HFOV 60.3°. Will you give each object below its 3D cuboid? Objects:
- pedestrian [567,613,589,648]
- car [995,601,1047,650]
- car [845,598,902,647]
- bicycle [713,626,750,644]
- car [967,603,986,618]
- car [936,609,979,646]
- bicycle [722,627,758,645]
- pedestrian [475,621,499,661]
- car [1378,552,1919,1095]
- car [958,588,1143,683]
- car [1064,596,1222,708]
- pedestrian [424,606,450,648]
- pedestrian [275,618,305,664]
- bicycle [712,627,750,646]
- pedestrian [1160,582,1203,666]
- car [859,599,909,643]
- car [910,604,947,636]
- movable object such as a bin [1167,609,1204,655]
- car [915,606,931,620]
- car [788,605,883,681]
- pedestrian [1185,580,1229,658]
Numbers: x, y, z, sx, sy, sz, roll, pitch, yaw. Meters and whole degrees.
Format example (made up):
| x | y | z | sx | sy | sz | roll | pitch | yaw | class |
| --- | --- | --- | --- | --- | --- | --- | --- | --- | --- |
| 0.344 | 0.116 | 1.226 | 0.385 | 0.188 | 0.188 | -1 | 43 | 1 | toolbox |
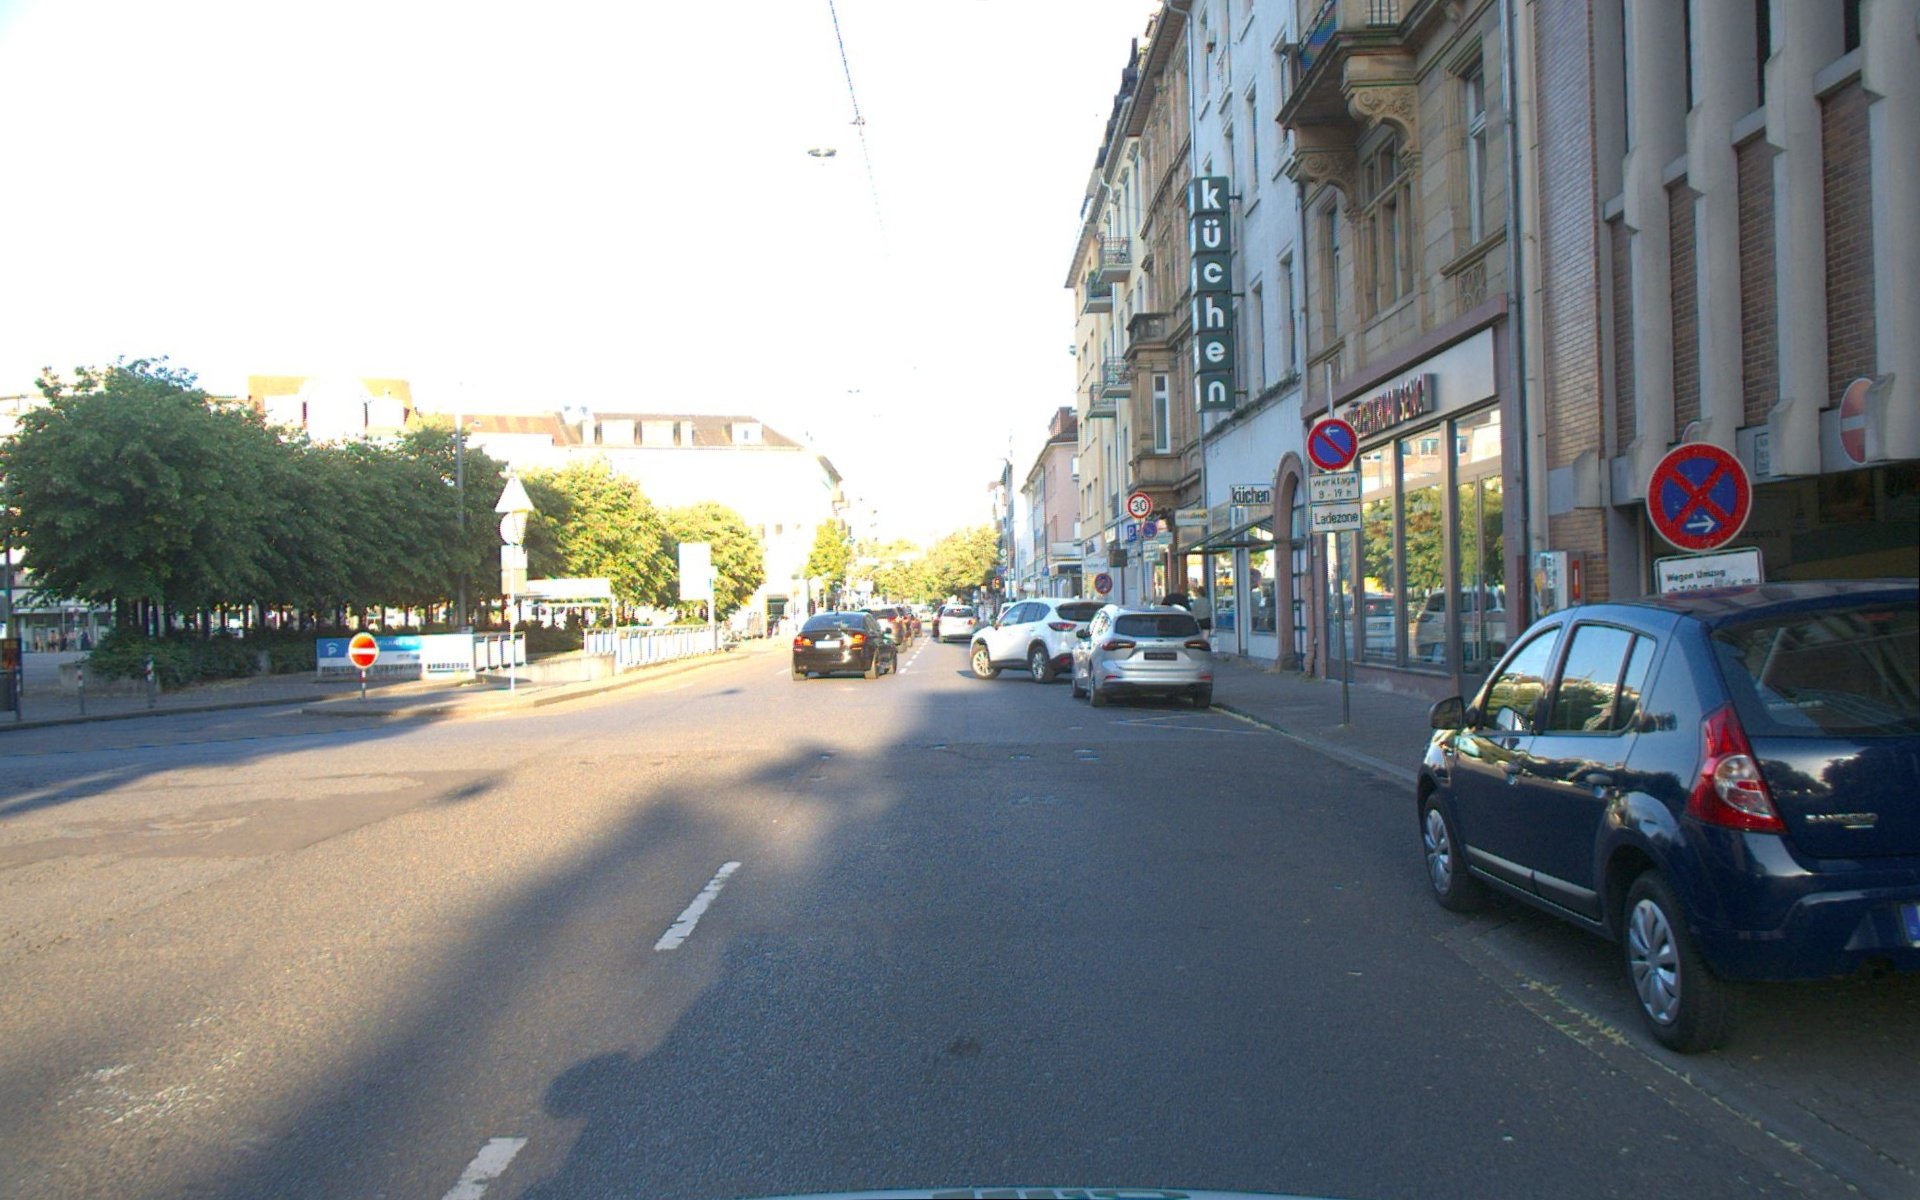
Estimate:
| x | y | z | sx | sy | sz | roll | pitch | yaw | class |
| --- | --- | --- | --- | --- | --- | --- | --- | --- | --- |
| -17.770 | 1.411 | 76.958 | 0.774 | 1.623 | 0.568 | -1 | -1 | 19 | pedestrian |
| 2.152 | 0.922 | 59.510 | 1.694 | 1.680 | 4.284 | 0 | -1 | 0 | car |
| -3.036 | 0.790 | 58.988 | 1.858 | 1.678 | 4.103 | -1 | 0 | -1 | car |
| -11.693 | 1.787 | 84.662 | 1.789 | 0.868 | 0.483 | 1 | -1 | -4 | bicycle |
| 1.772 | 1.116 | 178.092 | 1.858 | 1.609 | 3.851 | -2 | 0 | -1 | car |
| -0.120 | 1.227 | 73.775 | 1.858 | 1.609 | 3.999 | 0 | 0 | -1 | car |
| -11.138 | 1.830 | 83.776 | 1.789 | 0.868 | 0.483 | 1 | -1 | -4 | bicycle |
| -19.727 | 1.713 | 68.938 | 0.663 | 1.623 | 0.677 | -1 | -1 | 19 | pedestrian |
| 3.178 | 0.653 | 7.023 | 1.723 | 1.563 | 4.000 | -5 | 0 | 0 | car |
| 1.789 | 0.721 | 34.307 | 1.968 | 1.792 | 4.430 | -2 | 0 | -25 | car |
| 2.707 | 0.764 | 25.523 | 1.723 | 1.563 | 4.819 | 0 | -1 | -2 | car |
| -20.591 | 1.069 | 65.126 | 0.663 | 1.623 | 0.677 | -1 | -1 | 19 | pedestrian |
| -23.603 | 1.443 | 58.287 | 0.774 | 1.623 | 0.568 | -1 | -1 | 19 | pedestrian |
| -11.342 | 1.815 | 81.971 | 1.789 | 0.868 | 0.483 | 1 | -1 | -4 | bicycle |
| 5.101 | 0.541 | 38.135 | 0.757 | 1.859 | 1.010 | -3 | 0 | -1 | pedestrian |
| -3.065 | 0.848 | 67.309 | 1.858 | 1.678 | 4.103 | -1 | 0 | -1 | car |
| -1.662 | 1.023 | 87.136 | 1.858 | 1.609 | 3.851 | -2 | 0 | -1 | car |
| 5.641 | 0.794 | 41.382 | 0.759 | 1.089 | 0.618 | -4 | 0 | -1 | movable object such as a bin |
| -4.071 | 1.428 | 182.061 | 1.743 | 1.574 | 3.999 | -1 | 0 | -1 | car |
| -2.716 | 0.917 | 36.849 | 1.858 | 1.609 | 3.999 | 0 | 0 | -1 | car |
| 5.713 | 0.436 | 38.296 | 0.757 | 1.741 | 1.042 | -3 | 0 | -1 | pedestrian |
